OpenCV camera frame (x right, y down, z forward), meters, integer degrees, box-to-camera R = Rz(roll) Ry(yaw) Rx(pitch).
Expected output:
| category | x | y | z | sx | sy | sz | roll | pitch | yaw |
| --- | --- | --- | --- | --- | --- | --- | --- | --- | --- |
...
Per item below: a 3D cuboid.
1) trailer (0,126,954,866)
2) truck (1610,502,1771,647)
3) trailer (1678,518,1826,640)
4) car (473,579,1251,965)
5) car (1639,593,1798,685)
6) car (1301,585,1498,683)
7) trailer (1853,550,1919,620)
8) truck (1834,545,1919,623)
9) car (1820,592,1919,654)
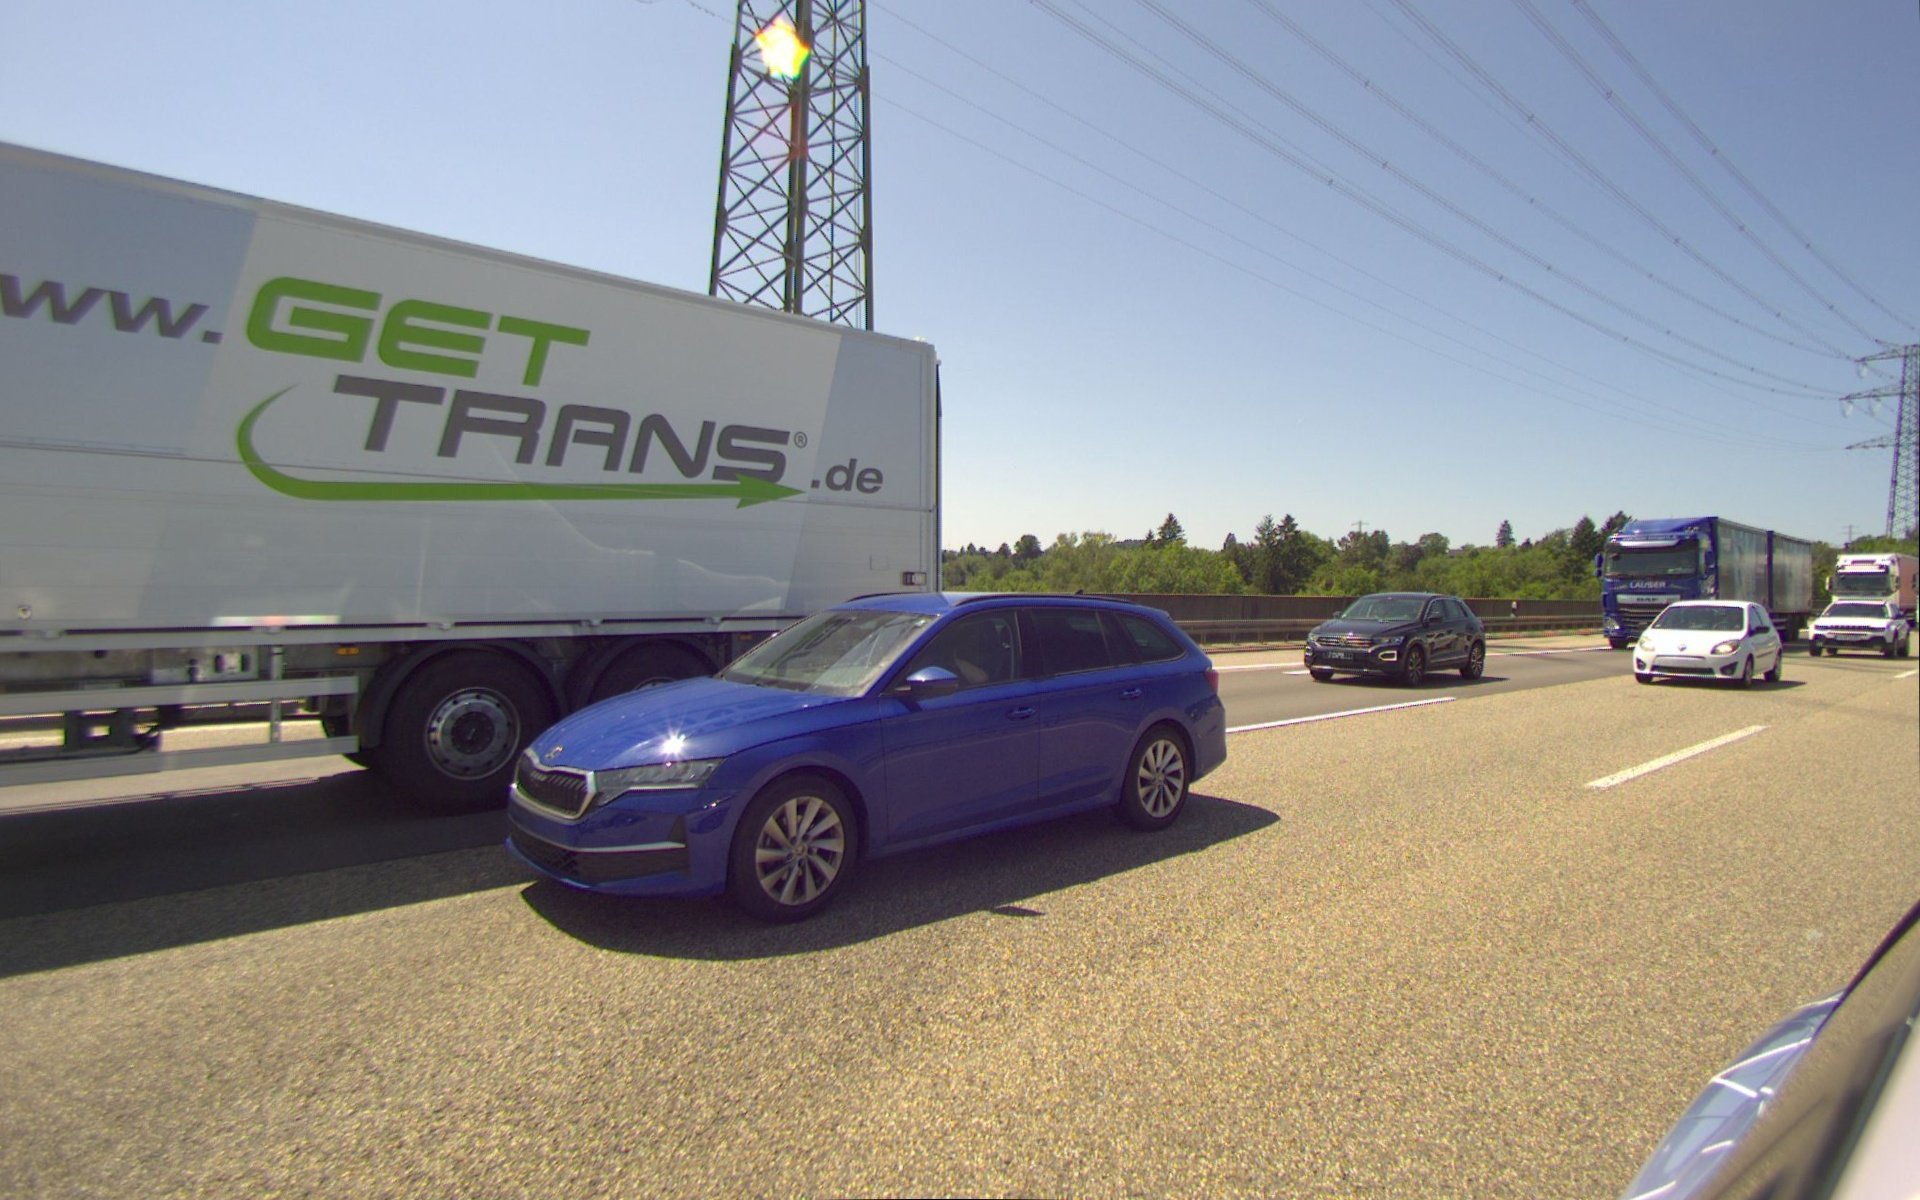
| category | x | y | z | sx | sy | sz | roll | pitch | yaw |
| --- | --- | --- | --- | --- | --- | --- | --- | --- | --- |
| trailer | -4.020 | -0.517 | 7.533 | 8.149 | 3.640 | 2.848 | 0 | 0 | -42 |
| truck | 22.980 | -0.719 | 31.662 | 7.790 | 4.018 | 2.514 | 0 | 0 | -42 |
| trailer | 29.829 | -0.752 | 37.868 | 10.699 | 4.044 | 2.540 | -1 | 0 | -42 |
| car | -0.252 | 0.638 | 5.952 | 4.423 | 1.458 | 1.712 | 0 | 0 | -42 |
| car | 13.564 | 0.616 | 18.035 | 3.566 | 1.458 | 1.582 | 0 | 0 | -41 |
| car | 7.753 | 0.523 | 17.708 | 3.821 | 1.524 | 1.708 | 0 | 0 | -41 |
| trailer | 55.211 | -0.883 | 59.576 | 8.539 | 3.849 | 2.901 | -1 | 0 | -42 |
| truck | 49.567 | -0.831 | 54.502 | 6.625 | 3.941 | 2.911 | -1 | 0 | -42 |
| car | 24.806 | 0.585 | 27.499 | 3.688 | 1.554 | 1.720 | 0 | 0 | -42 |
